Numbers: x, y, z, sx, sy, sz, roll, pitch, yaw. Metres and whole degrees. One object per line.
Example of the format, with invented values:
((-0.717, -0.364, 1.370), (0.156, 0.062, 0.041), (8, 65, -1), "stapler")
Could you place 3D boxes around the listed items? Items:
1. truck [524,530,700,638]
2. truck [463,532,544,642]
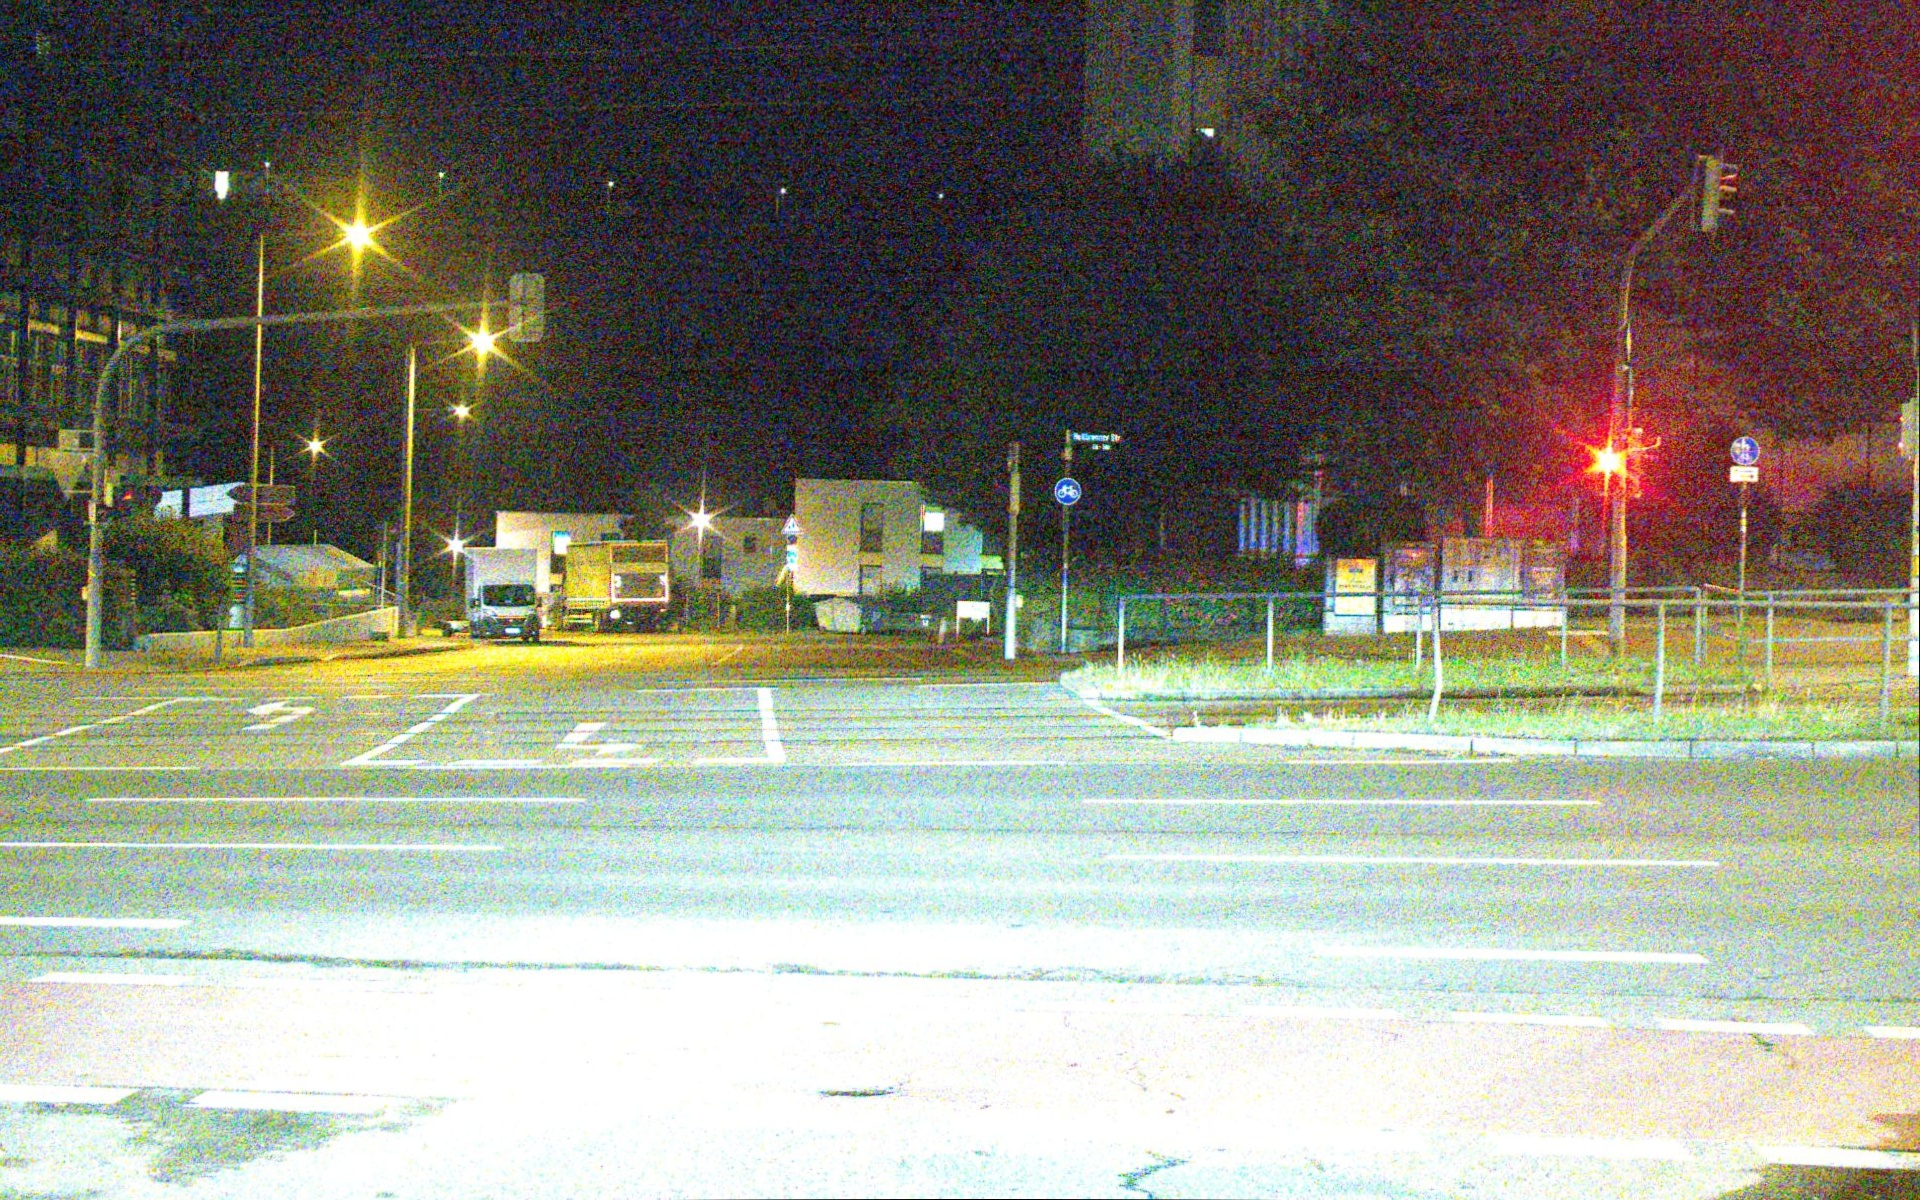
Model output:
((-15.449, -0.759, 151.233), (4.821, 4.531, 12.669), (1, 1, -19), "truck")
((-15.882, -0.468, 119.320), (2.582, 3.694, 5.739), (1, 1, -9), "truck")
